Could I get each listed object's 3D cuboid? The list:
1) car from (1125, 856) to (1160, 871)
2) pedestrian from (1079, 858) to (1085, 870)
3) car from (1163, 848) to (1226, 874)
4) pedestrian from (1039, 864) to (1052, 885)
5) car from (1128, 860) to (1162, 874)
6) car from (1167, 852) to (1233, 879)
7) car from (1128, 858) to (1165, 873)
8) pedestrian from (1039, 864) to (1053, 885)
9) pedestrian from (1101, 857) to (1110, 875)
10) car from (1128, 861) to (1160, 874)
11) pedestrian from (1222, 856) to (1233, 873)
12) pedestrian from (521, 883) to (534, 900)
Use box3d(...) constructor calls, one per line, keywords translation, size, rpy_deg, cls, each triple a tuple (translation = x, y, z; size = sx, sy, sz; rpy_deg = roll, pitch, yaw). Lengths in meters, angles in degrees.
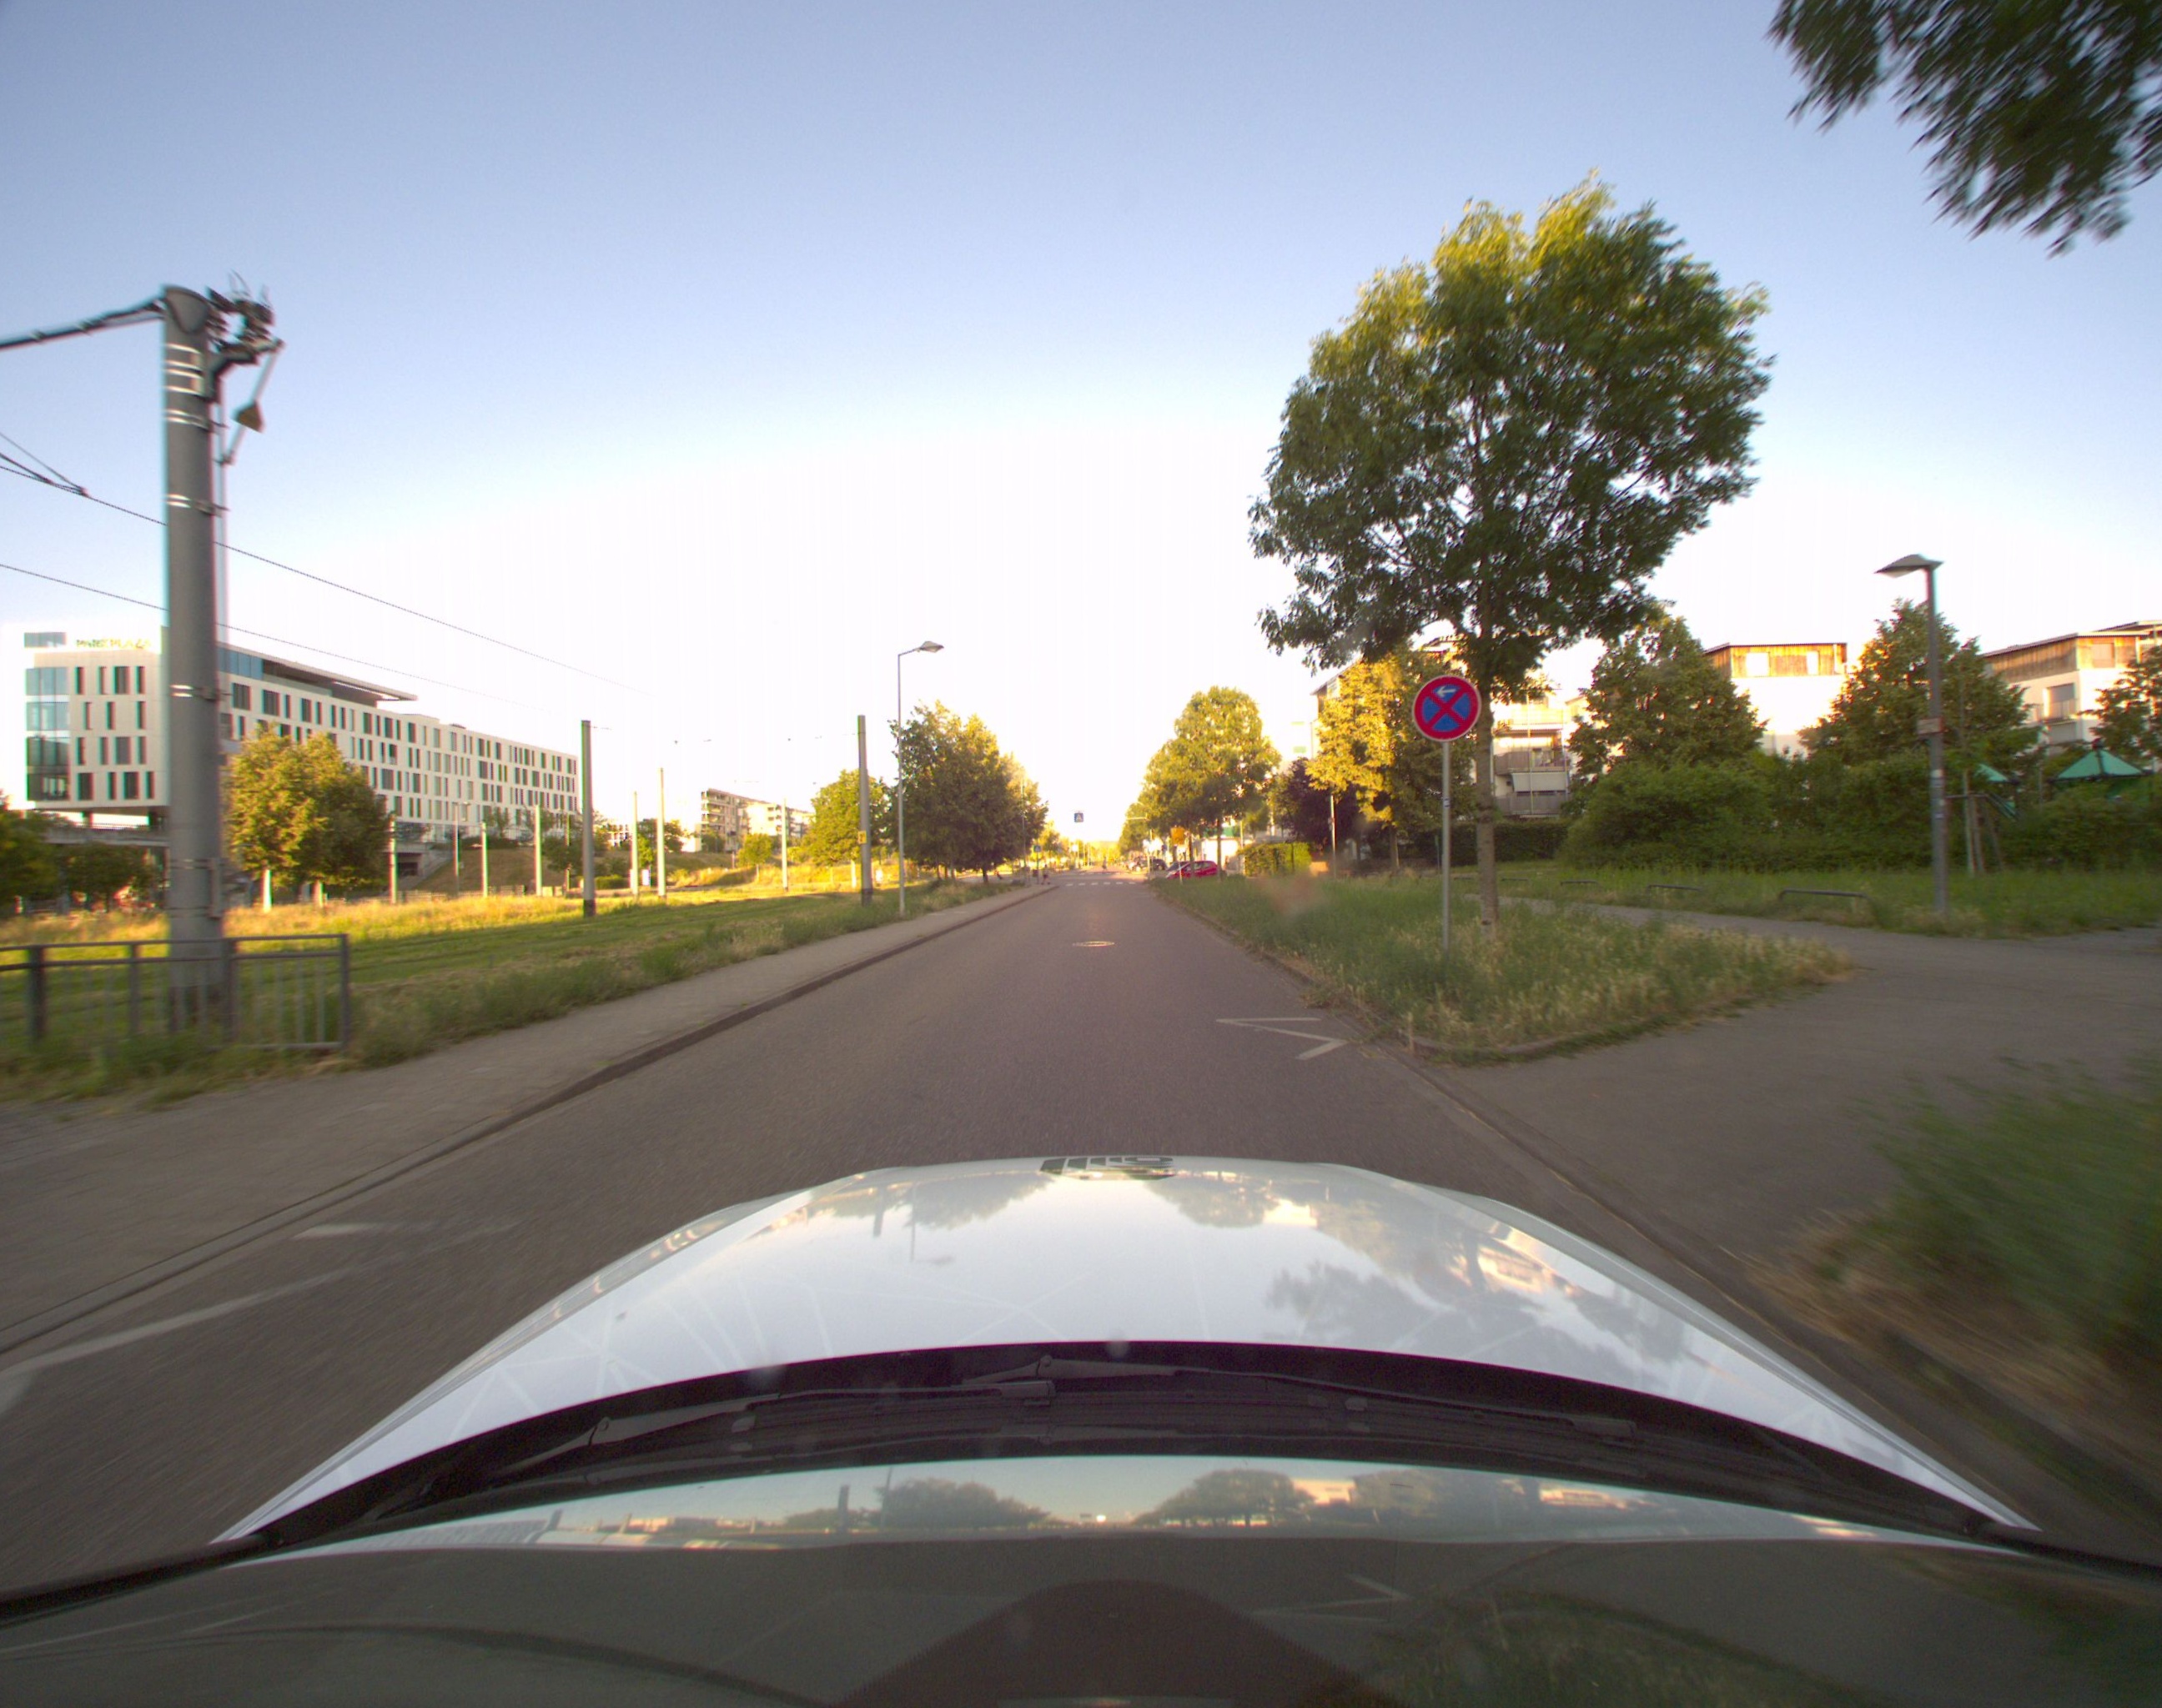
box3d(translation=(9.275, 1.413, 123.827), size=(4.991, 2.045, 2.248), rpy_deg=(-2, -1, -3), cls="car")
box3d(translation=(0.118, 1.603, 133.702), size=(0.866, 2.014, 0.787), rpy_deg=(-2, -1, -9), cls="pedestrian")
box3d(translation=(7.341, 0.452, 52.895), size=(3.790, 1.508, 1.678), rpy_deg=(-2, -1, -1), cls="car")
box3d(translation=(-2.918, 1.709, 66.971), size=(0.983, 1.693, 0.698), rpy_deg=(-2, -1, -10), cls="pedestrian")
box3d(translation=(8.245, 1.662, 105.816), size=(4.337, 1.596, 2.001), rpy_deg=(-2, -1, 3), cls="car")
box3d(translation=(7.281, 0.704, 50.212), size=(3.790, 1.508, 1.678), rpy_deg=(-2, -1, -1), cls="car")
box3d(translation=(8.073, 1.407, 100.620), size=(4.466, 1.596, 2.001), rpy_deg=(-2, -1, 3), cls="car")
box3d(translation=(-2.859, 1.658, 66.159), size=(1.018, 1.693, 0.757), rpy_deg=(-2, -1, -9), cls="pedestrian")
box3d(translation=(2.796, 1.409, 93.235), size=(0.842, 2.014, 0.945), rpy_deg=(-2, -1, 7), cls="pedestrian")
box3d(translation=(8.378, 1.763, 108.542), size=(4.246, 1.596, 2.001), rpy_deg=(-2, -1, 3), cls="car")
box3d(translation=(15.895, 1.163, 88.599), size=(1.002, 1.788, 0.761), rpy_deg=(-1, -1, -5), cls="pedestrian")
box3d(translation=(-58.006, 3.929, 85.369), size=(0.783, 1.786, 0.815), rpy_deg=(-2, -1, 5), cls="pedestrian")
